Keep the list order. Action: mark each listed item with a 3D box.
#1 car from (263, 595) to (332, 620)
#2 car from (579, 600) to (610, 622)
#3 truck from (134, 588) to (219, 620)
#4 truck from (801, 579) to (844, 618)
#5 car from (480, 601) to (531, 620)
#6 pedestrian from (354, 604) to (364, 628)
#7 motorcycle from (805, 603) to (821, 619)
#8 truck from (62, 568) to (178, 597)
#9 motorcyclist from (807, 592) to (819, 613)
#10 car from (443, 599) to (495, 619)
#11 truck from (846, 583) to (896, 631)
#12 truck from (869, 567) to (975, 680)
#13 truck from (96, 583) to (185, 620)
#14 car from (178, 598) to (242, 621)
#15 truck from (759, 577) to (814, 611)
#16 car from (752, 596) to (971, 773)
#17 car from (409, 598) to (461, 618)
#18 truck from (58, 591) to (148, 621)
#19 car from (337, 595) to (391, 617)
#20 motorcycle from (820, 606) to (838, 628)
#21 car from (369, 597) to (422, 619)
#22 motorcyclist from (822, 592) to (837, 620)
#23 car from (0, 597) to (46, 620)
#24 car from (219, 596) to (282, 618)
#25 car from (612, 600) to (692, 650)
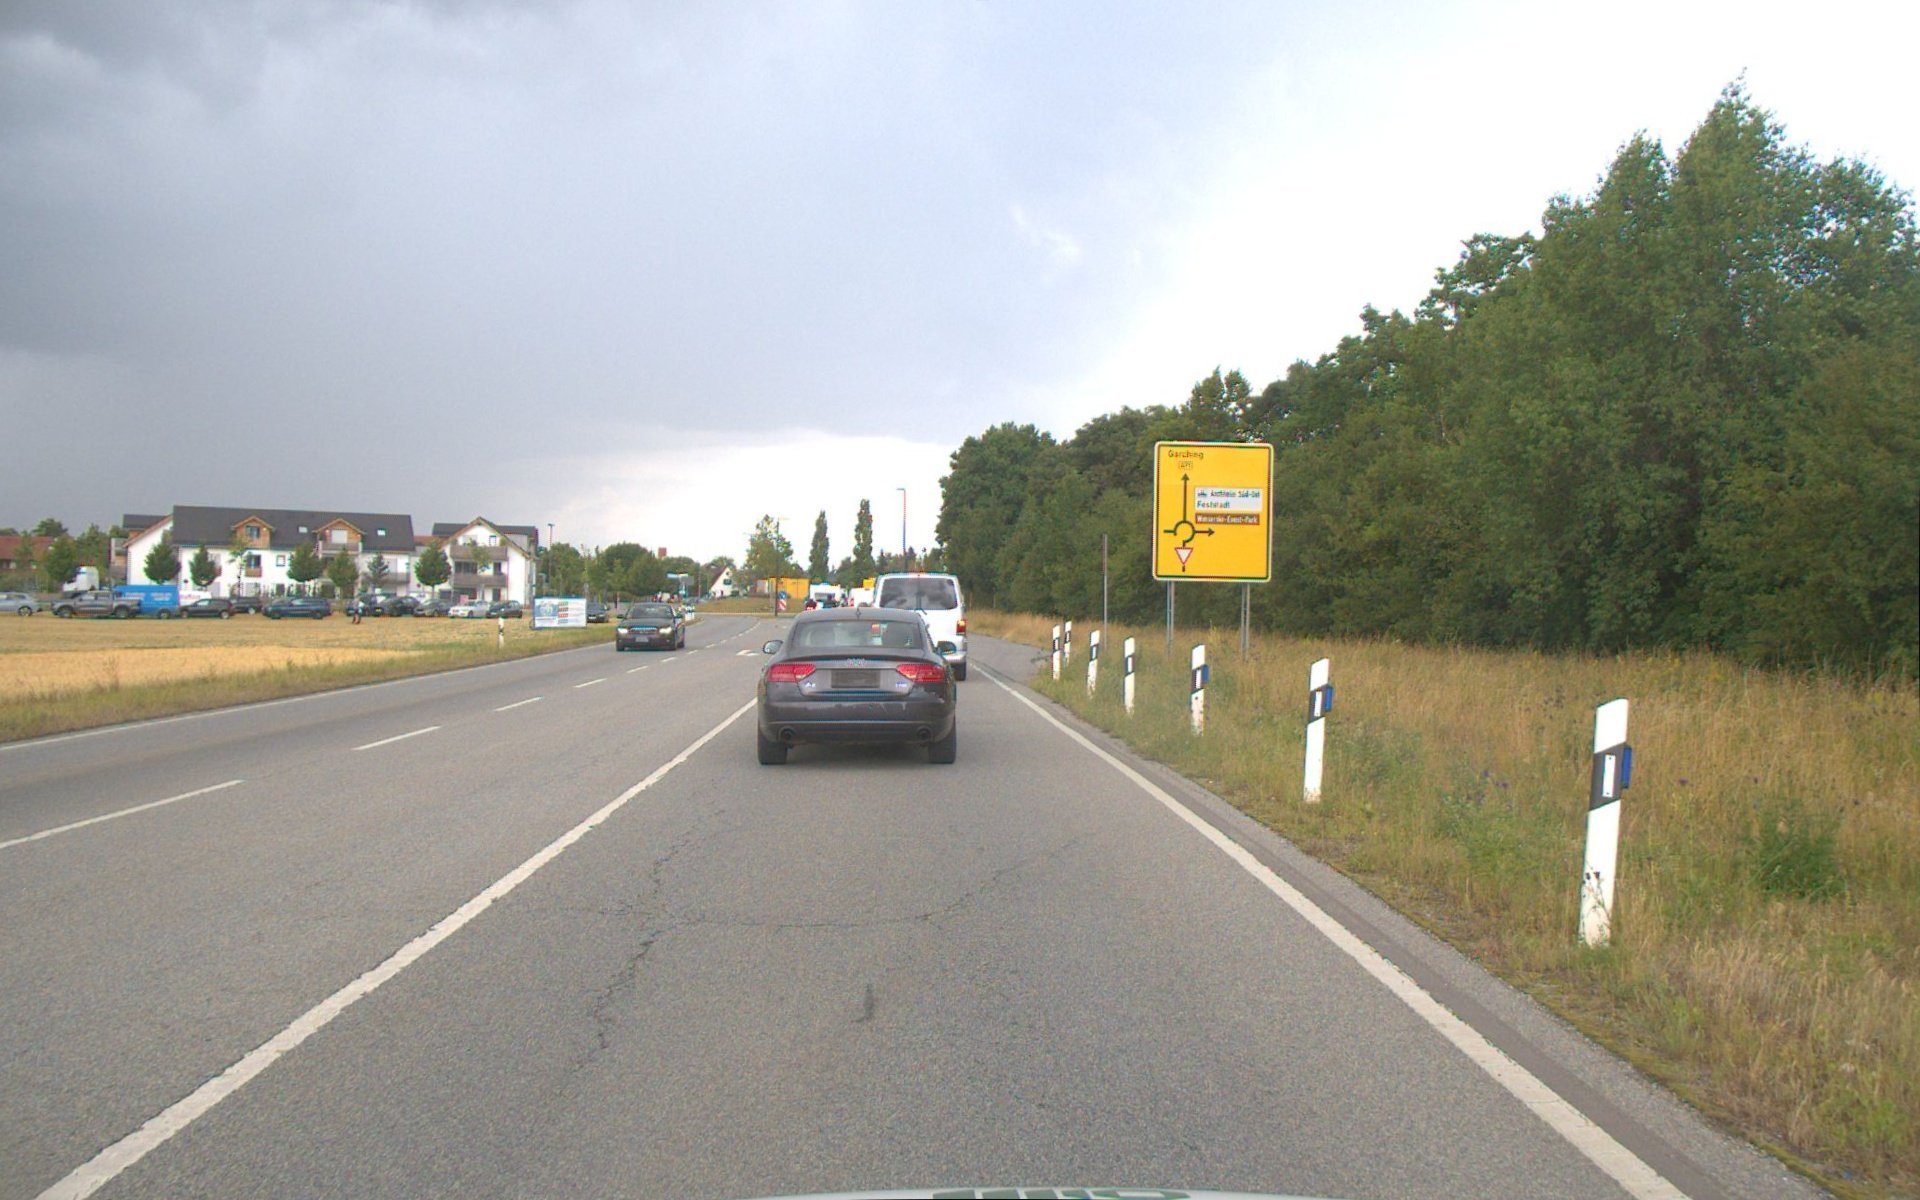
[{"bbox_3d":[-48.175,0.542,120.260,4.654,1.727,1.985,0,0,-24],"label":"car"},{"bbox_3d":[-25.733,0.782,116.300,1.960,1.467,3.985,1,1,-15],"label":"car"},{"bbox_3d":[-57.054,0.314,120.449,5.498,2.235,2.584,1,0,-27],"label":"truck"},{"bbox_3d":[-10.408,-0.117,124.855,2.579,2.785,5.852,1,0,-10],"label":"truck"},{"bbox_3d":[-35.148,0.802,127.969,1.951,1.471,4.215,0,0,14],"label":"car"},{"bbox_3d":[-39.767,1.060,109.392,0.581,1.583,0.621,1,0,-23],"label":"pedestrian"},{"bbox_3d":[-9.748,0.735,109.553,0.927,1.037,2.279,1,0,-9],"label":"motorcycle"},{"bbox_3d":[-79.267,-1.667,156.210,9.166,2.574,3.295,1,0,-6],"label":"truck"},{"bbox_3d":[-9.736,0.188,109.488,0.771,1.380,0.852,1,0,-10],"label":"motorcyclist"},{"bbox_3d":[-38.009,0.697,128.168,1.951,1.471,4.215,0,0,14],"label":"car"},{"bbox_3d":[-4.012,0.298,73.996,2.150,2.049,5.081,0,0,-4],"label":"truck"},{"bbox_3d":[-0.814,0.420,32.150,1.866,2.033,4.625,0,0,-4],"label":"truck"},{"bbox_3d":[-55.878,0.098,112.878,5.383,2.489,2.373,1,0,-27],"label":"truck"},{"bbox_3d":[-53.373,0.680,117.741,4.101,1.545,1.985,1,0,-25],"label":"car"},{"bbox_3d":[-19.589,-0.720,186.205,3.526,3.641,9.891,1,0,-22],"label":"truck"},{"bbox_3d":[-0.979,0.707,16.002,1.838,1.479,4.173,0,0,-4],"label":"car"},{"bbox_3d":[-40.739,0.610,128.386,1.951,1.562,4.215,0,0,14],"label":"car"},{"bbox_3d":[-56.332,0.418,108.755,5.172,1.954,2.091,1,0,-31],"label":"truck"},{"bbox_3d":[-47.062,0.449,130.685,1.951,1.657,4.215,0,0,14],"label":"car"},{"bbox_3d":[-6.714,0.856,84.876,0.902,1.113,2.187,1,0,-4],"label":"motorcycle"},{"bbox_3d":[-43.860,0.601,128.619,1.951,1.657,4.215,0,0,14],"label":"car"},{"bbox_3d":[-6.683,0.322,84.710,0.757,1.408,0.819,1,0,-4],"label":"motorcyclist"},{"bbox_3d":[-62.997,0.546,109.626,4.250,1.487,1.872,1,0,-31],"label":"car"},{"bbox_3d":[-56.499,0.557,131.673,4.565,1.727,1.985,0,0,-24],"label":"car"},{"bbox_3d":[-9.355,0.740,50.543,1.790,1.435,4.422,-1,0,-2],"label":"car"}]
